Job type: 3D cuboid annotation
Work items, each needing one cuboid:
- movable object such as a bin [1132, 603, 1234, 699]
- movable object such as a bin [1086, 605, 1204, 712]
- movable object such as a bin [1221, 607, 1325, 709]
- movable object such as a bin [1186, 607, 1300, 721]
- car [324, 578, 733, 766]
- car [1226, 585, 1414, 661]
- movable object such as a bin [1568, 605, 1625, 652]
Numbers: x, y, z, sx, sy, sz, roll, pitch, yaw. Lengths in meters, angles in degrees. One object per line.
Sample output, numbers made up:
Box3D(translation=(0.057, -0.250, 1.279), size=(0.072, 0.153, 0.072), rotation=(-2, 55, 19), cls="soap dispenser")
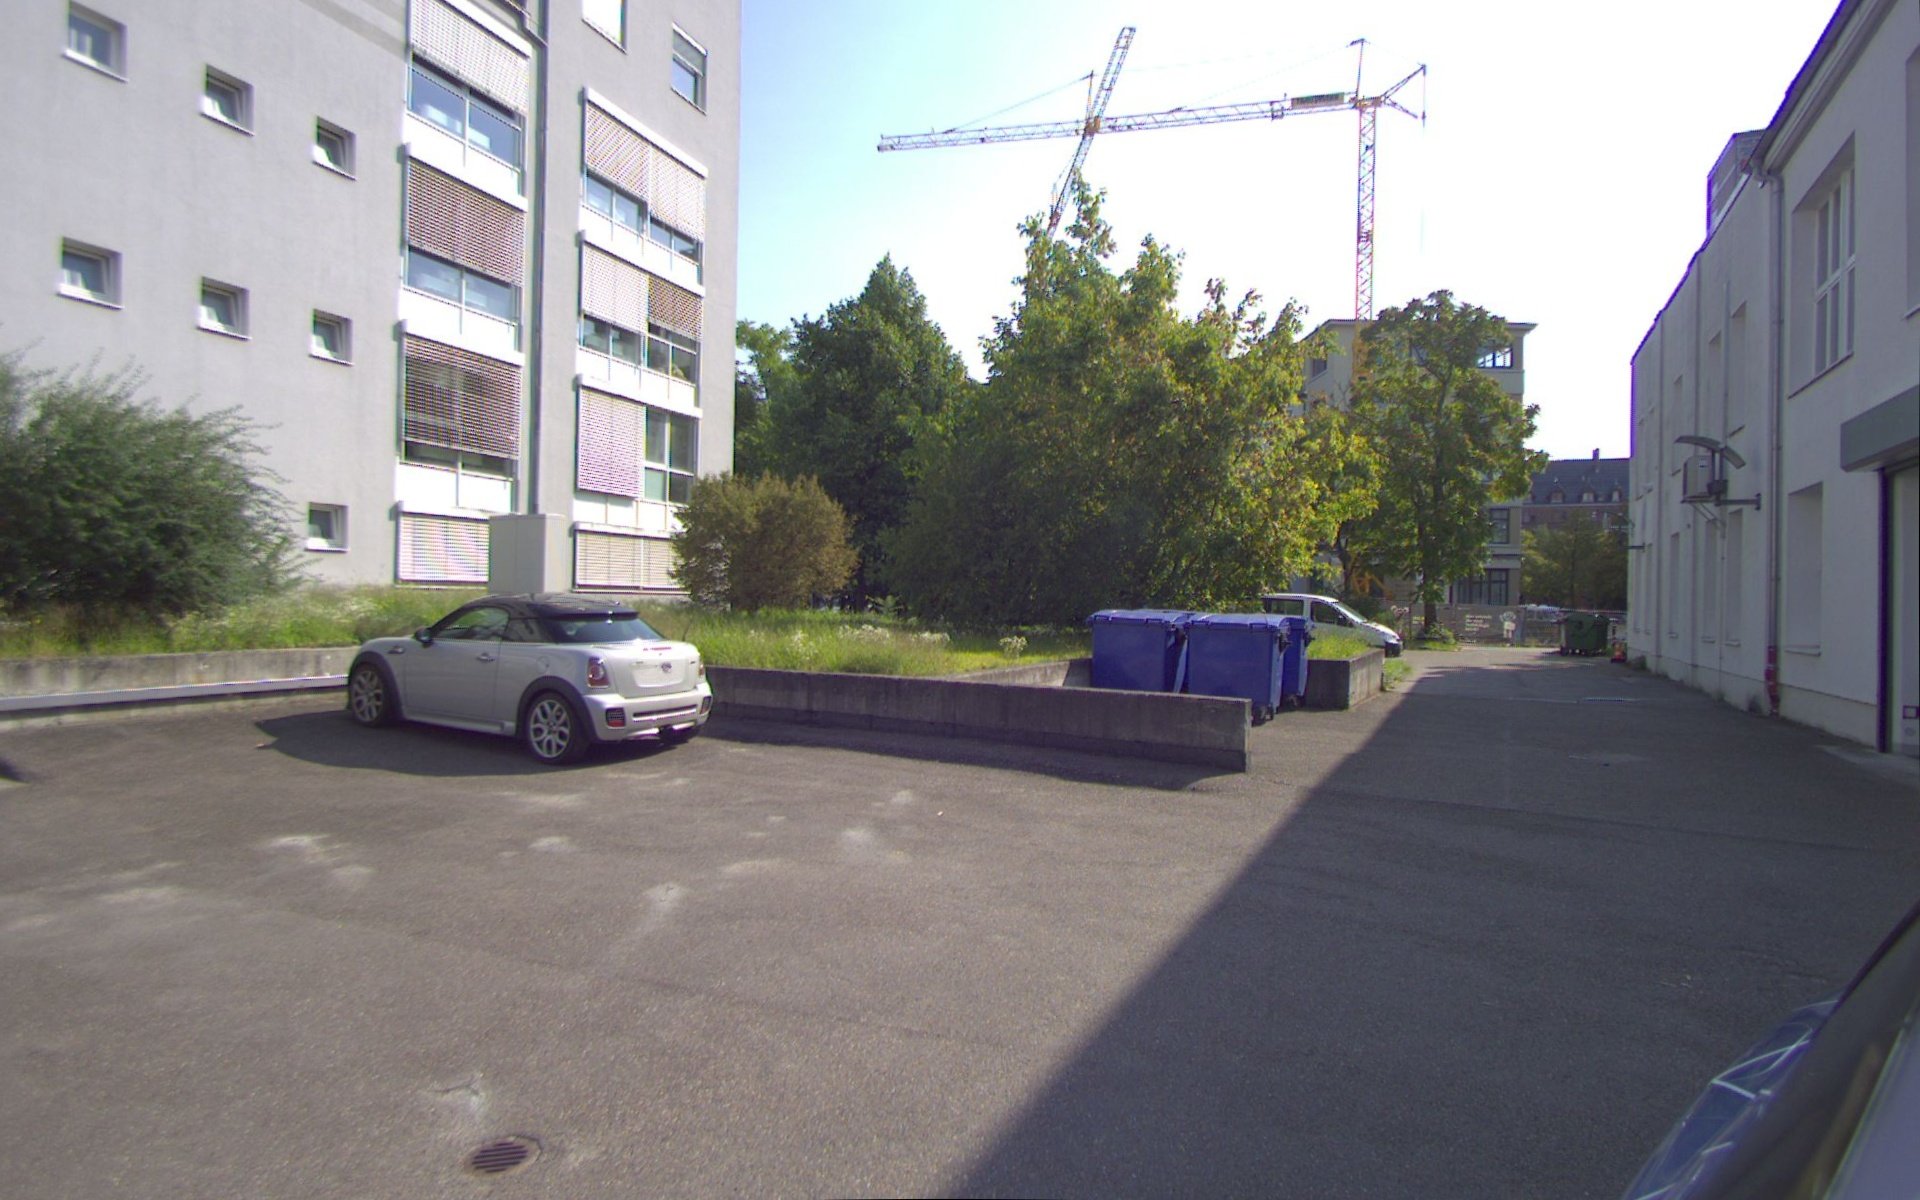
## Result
Box3D(translation=(3.364, 0.734, 15.208), size=(1.190, 1.344, 1.262), rotation=(1, -1, 29), cls="movable object such as a bin")
Box3D(translation=(2.545, 0.756, 13.823), size=(1.247, 1.344, 1.262), rotation=(1, -1, 29), cls="movable object such as a bin")
Box3D(translation=(4.486, 0.789, 14.445), size=(1.190, 1.344, 1.262), rotation=(1, -1, 29), cls="movable object such as a bin")
Box3D(translation=(3.690, 0.789, 13.146), size=(1.203, 1.368, 1.263), rotation=(1, -1, 27), cls="movable object such as a bin")
Box3D(translation=(-4.101, 0.567, 9.598), size=(3.545, 1.456, 1.644), rotation=(1, 0, 26), cls="car")
Box3D(translation=(10.201, 0.597, 28.751), size=(4.755, 1.956, 1.888), rotation=(1, 0, 31), cls="car")
Box3D(translation=(21.005, 0.936, 33.435), size=(1.512, 1.484, 1.262), rotation=(1, -1, 29), cls="movable object such as a bin")
